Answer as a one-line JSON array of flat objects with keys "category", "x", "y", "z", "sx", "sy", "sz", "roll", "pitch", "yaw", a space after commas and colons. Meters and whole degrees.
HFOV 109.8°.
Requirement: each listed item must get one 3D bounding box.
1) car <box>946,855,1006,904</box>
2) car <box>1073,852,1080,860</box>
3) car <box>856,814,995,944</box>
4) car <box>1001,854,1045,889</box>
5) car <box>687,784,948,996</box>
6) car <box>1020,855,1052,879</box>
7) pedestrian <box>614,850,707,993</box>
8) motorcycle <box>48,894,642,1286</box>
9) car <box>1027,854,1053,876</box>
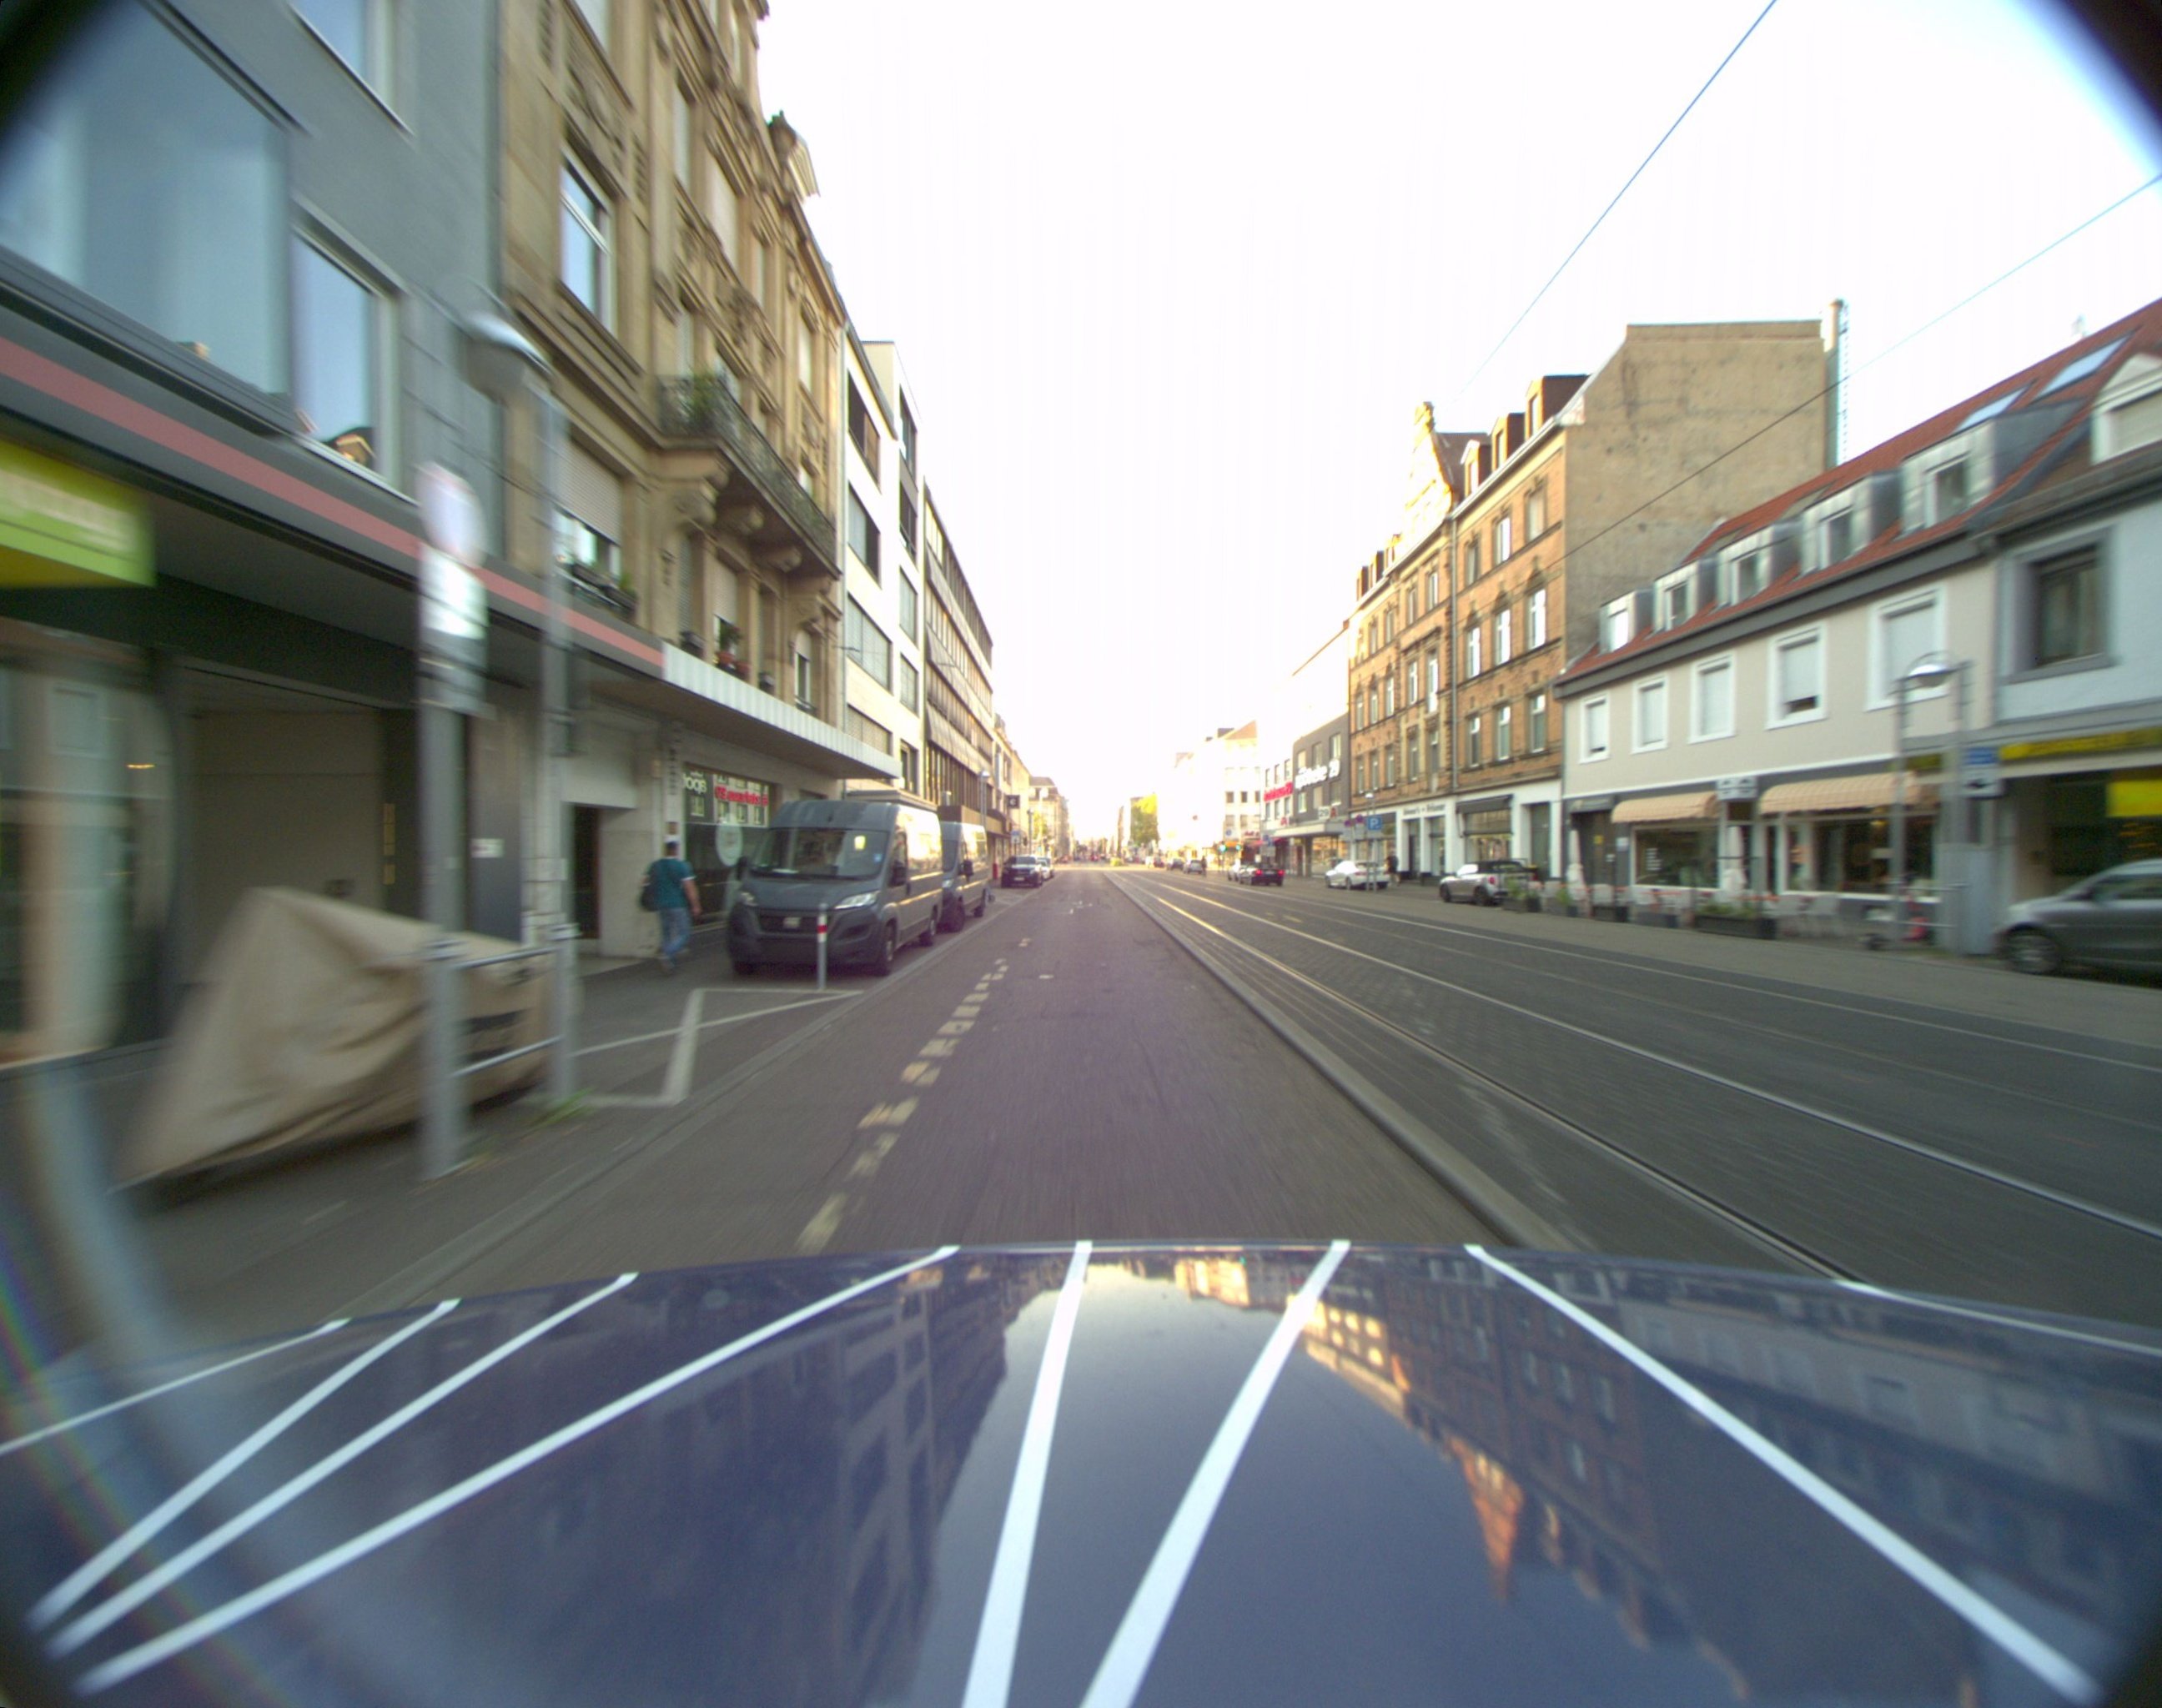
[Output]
[{"category": "car", "x": -3.780, "y": 0.876, "z": 27.906, "sx": 1.639, "sy": 1.642, "sz": 3.845, "roll": 0, "pitch": 0, "yaw": 1}, {"category": "car", "x": -0.985, "y": 0.426, "z": 168.946, "sx": 1.572, "sy": 1.781, "sz": 3.664, "roll": -2, "pitch": 1, "yaw": -1}, {"category": "car", "x": -3.453, "y": 0.470, "z": 18.116, "sx": 1.998, "sy": 2.559, "sz": 5.604, "roll": -2, "pitch": 1, "yaw": 1}, {"category": "car", "x": -3.020, "y": 0.897, "z": 40.491, "sx": 1.999, "sy": 1.663, "sz": 3.876, "roll": -2, "pitch": 1, "yaw": 0}, {"category": "car", "x": -3.602, "y": 0.407, "z": 11.800, "sx": 2.080, "sy": 2.434, "sz": 5.603, "roll": -2, "pitch": 0, "yaw": -1}, {"category": "car", "x": -3.123, "y": 0.891, "z": 53.512, "sx": 1.999, "sy": 1.538, "sz": 3.876, "roll": -2, "pitch": 0, "yaw": -1}, {"category": "pedestrian", "x": -5.376, "y": 0.832, "z": 9.764, "sx": 0.743, "sy": 1.746, "sz": 0.789, "roll": 2, "pitch": 1, "yaw": -3}, {"category": "motorcycle", "x": -3.655, "y": 0.997, "z": 4.301, "sx": 0.785, "sy": 1.396, "sz": 2.637, "roll": 1, "pitch": 0, "yaw": 0}, {"category": "car", "x": -3.241, "y": 0.839, "z": 60.536, "sx": 1.899, "sy": 1.557, "sz": 3.534, "roll": -3, "pitch": 0, "yaw": -2}]
